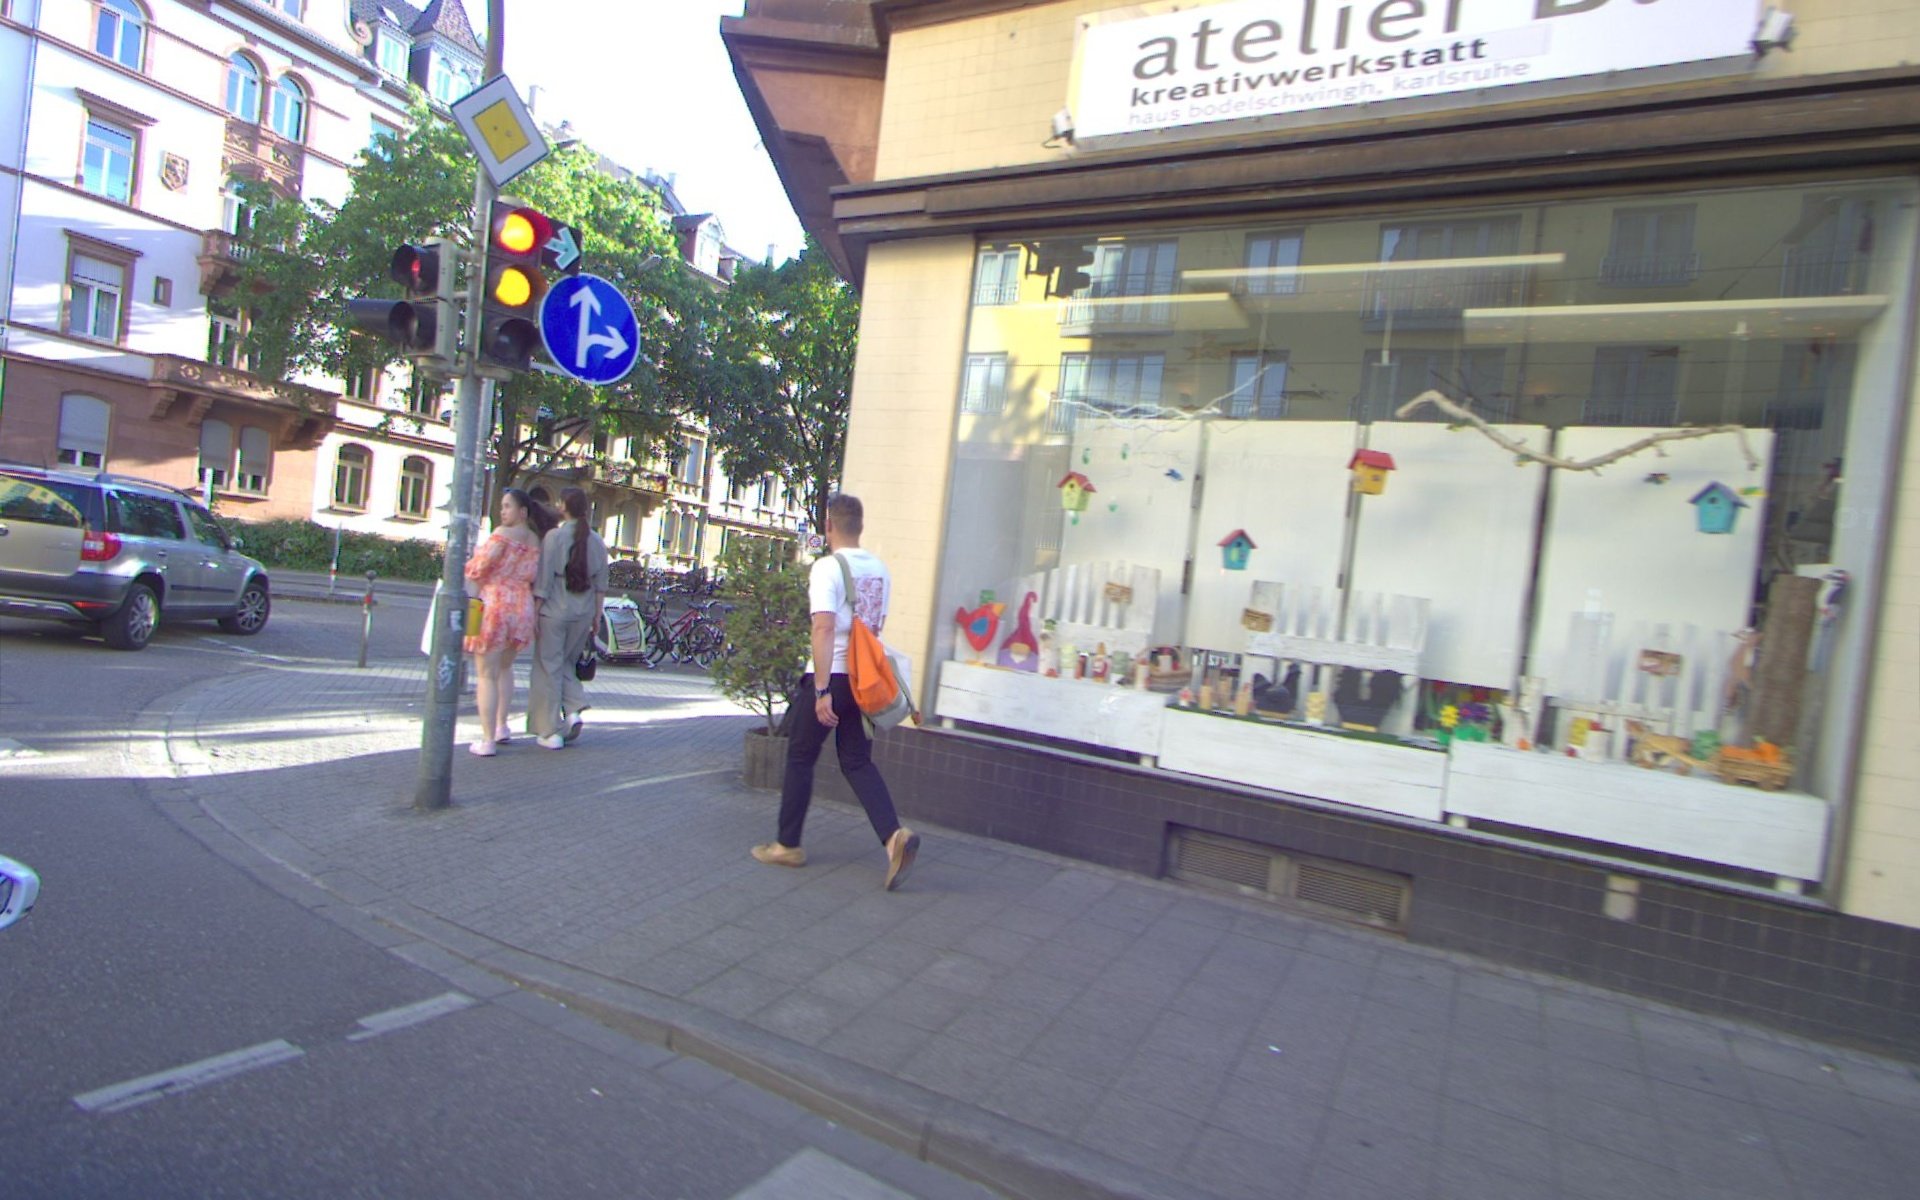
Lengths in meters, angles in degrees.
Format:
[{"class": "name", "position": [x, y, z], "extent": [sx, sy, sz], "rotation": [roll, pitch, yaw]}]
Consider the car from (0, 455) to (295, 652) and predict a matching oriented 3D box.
[{"class": "car", "position": [-9.160, -0.473, 10.833], "extent": [1.970, 1.636, 3.990], "rotation": [9, -2, -15]}]

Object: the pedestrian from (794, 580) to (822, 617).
[{"class": "pedestrian", "position": [-6.269, -0.049, 41.504], "extent": [0.903, 1.448, 0.760], "rotation": [2, 3, -29]}]

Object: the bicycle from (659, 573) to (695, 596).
[{"class": "bicycle", "position": [-13.365, -0.721, 47.421], "extent": [1.767, 0.904, 0.492], "rotation": [7, 1, 31]}]

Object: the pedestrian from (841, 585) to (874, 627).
[{"class": "pedestrian", "position": [-3.747, 0.226, 36.580], "extent": [0.903, 1.448, 0.760], "rotation": [2, 3, -29]}]

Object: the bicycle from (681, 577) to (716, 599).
[{"class": "bicycle", "position": [-12.735, -0.583, 48.936], "extent": [1.767, 0.904, 0.492], "rotation": [7, 1, 31]}]

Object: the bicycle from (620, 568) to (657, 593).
[{"class": "bicycle", "position": [-14.499, -0.878, 45.317], "extent": [1.767, 0.904, 0.492], "rotation": [7, 1, 31]}]

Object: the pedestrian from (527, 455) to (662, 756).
[{"class": "pedestrian", "position": [-2.496, 0.030, 6.922], "extent": [0.681, 1.936, 0.668], "rotation": [4, 5, -11]}]

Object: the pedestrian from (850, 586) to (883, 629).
[{"class": "pedestrian", "position": [-3.344, 0.266, 35.866], "extent": [0.903, 1.448, 0.760], "rotation": [2, 3, -28]}]

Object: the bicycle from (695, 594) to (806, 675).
[{"class": "bicycle", "position": [-3.365, 0.534, 16.051], "extent": [1.889, 1.112, 0.449], "rotation": [5, 0, 33]}]

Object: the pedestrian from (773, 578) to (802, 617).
[{"class": "pedestrian", "position": [-6.879, -0.101, 40.051], "extent": [0.903, 1.448, 0.760], "rotation": [2, 3, -28]}]

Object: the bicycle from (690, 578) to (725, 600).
[{"class": "bicycle", "position": [-12.420, -0.539, 49.532], "extent": [1.767, 0.904, 0.492], "rotation": [7, 1, 31]}]

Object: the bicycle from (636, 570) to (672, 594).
[{"class": "bicycle", "position": [-14.012, -0.813, 46.054], "extent": [1.767, 0.904, 0.492], "rotation": [7, 1, 31]}]

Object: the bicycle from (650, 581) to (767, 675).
[{"class": "bicycle", "position": [-3.802, 0.409, 15.115], "extent": [1.889, 1.239, 0.449], "rotation": [5, 0, 33]}]

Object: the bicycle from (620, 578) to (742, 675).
[{"class": "bicycle", "position": [-4.095, 0.369, 14.687], "extent": [1.889, 1.239, 0.504], "rotation": [5, 0, 33]}]

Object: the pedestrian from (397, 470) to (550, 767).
[{"class": "pedestrian", "position": [-3.216, 0.103, 6.632], "extent": [0.798, 1.826, 0.755], "rotation": [2, 6, -29]}]

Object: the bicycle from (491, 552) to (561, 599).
[{"class": "bicycle", "position": [-13.118, -0.744, 30.429], "extent": [1.840, 1.177, 0.556], "rotation": [6, 3, -24]}]

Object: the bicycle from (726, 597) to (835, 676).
[{"class": "bicycle", "position": [-2.963, 0.586, 16.493], "extent": [1.889, 1.113, 0.449], "rotation": [5, 0, 33]}]

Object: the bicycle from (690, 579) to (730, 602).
[{"class": "bicycle", "position": [-11.885, -0.454, 47.861], "extent": [0.486, 0.904, 1.787], "rotation": [8, 1, 43]}]

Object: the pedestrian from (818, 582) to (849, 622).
[{"class": "pedestrian", "position": [-4.840, 0.071, 38.460], "extent": [0.903, 1.448, 0.760], "rotation": [2, 3, -29]}]

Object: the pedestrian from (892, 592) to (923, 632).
[{"class": "pedestrian", "position": [-1.988, 0.446, 37.775], "extent": [0.756, 1.448, 0.908], "rotation": [2, 3, -30]}]

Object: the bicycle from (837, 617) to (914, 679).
[{"class": "bicycle", "position": [-1.515, 0.848, 17.847], "extent": [1.385, 0.961, 0.448], "rotation": [5, 0, 41]}]

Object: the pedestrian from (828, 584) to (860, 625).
[{"class": "pedestrian", "position": [-4.332, 0.169, 37.570], "extent": [0.903, 1.448, 0.760], "rotation": [2, 3, -28]}]

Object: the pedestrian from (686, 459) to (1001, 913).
[{"class": "pedestrian", "position": [-0.542, 0.326, 4.706], "extent": [1.072, 1.826, 0.805], "rotation": [8, 6, 27]}]

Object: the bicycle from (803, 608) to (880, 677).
[{"class": "bicycle", "position": [-2.068, 0.731, 17.478], "extent": [1.385, 1.055, 0.448], "rotation": [5, 0, 41]}]

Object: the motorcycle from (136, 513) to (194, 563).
[{"class": "motorcycle", "position": [-20.795, -1.641, 26.302], "extent": [2.253, 1.033, 0.718], "rotation": [10, 3, 40]}]

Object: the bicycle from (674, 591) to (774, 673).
[{"class": "bicycle", "position": [-3.681, 0.486, 15.642], "extent": [1.585, 1.125, 0.449], "rotation": [5, 0, 33]}]

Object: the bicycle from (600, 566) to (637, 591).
[{"class": "bicycle", "position": [-15.083, -0.956, 44.414], "extent": [1.767, 0.904, 0.492], "rotation": [7, 1, 31]}]

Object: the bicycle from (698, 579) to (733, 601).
[{"class": "bicycle", "position": [-12.164, -0.504, 49.991], "extent": [1.767, 0.904, 0.492], "rotation": [7, 1, 31]}]

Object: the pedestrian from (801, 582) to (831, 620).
[{"class": "pedestrian", "position": [-5.798, 0.031, 40.456], "extent": [0.903, 1.448, 0.760], "rotation": [2, 3, -28]}]

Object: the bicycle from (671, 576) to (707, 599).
[{"class": "bicycle", "position": [-13.035, -0.623, 48.330], "extent": [1.767, 0.904, 0.492], "rotation": [7, 1, 31]}]

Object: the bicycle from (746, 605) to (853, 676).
[{"class": "bicycle", "position": [-2.708, 0.671, 16.885], "extent": [1.889, 1.012, 0.449], "rotation": [5, 0, 33]}]

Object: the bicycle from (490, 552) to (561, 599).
[{"class": "bicycle", "position": [-12.892, -0.724, 29.875], "extent": [1.840, 1.177, 0.556], "rotation": [6, 3, -24]}]

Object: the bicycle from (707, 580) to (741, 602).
[{"class": "bicycle", "position": [-11.875, -0.464, 50.592], "extent": [1.767, 0.904, 0.492], "rotation": [7, 1, 31]}]

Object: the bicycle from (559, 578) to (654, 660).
[{"class": "bicycle", "position": [-5.081, 0.273, 14.441], "extent": [1.047, 1.058, 0.777], "rotation": [5, 0, 38]}]
